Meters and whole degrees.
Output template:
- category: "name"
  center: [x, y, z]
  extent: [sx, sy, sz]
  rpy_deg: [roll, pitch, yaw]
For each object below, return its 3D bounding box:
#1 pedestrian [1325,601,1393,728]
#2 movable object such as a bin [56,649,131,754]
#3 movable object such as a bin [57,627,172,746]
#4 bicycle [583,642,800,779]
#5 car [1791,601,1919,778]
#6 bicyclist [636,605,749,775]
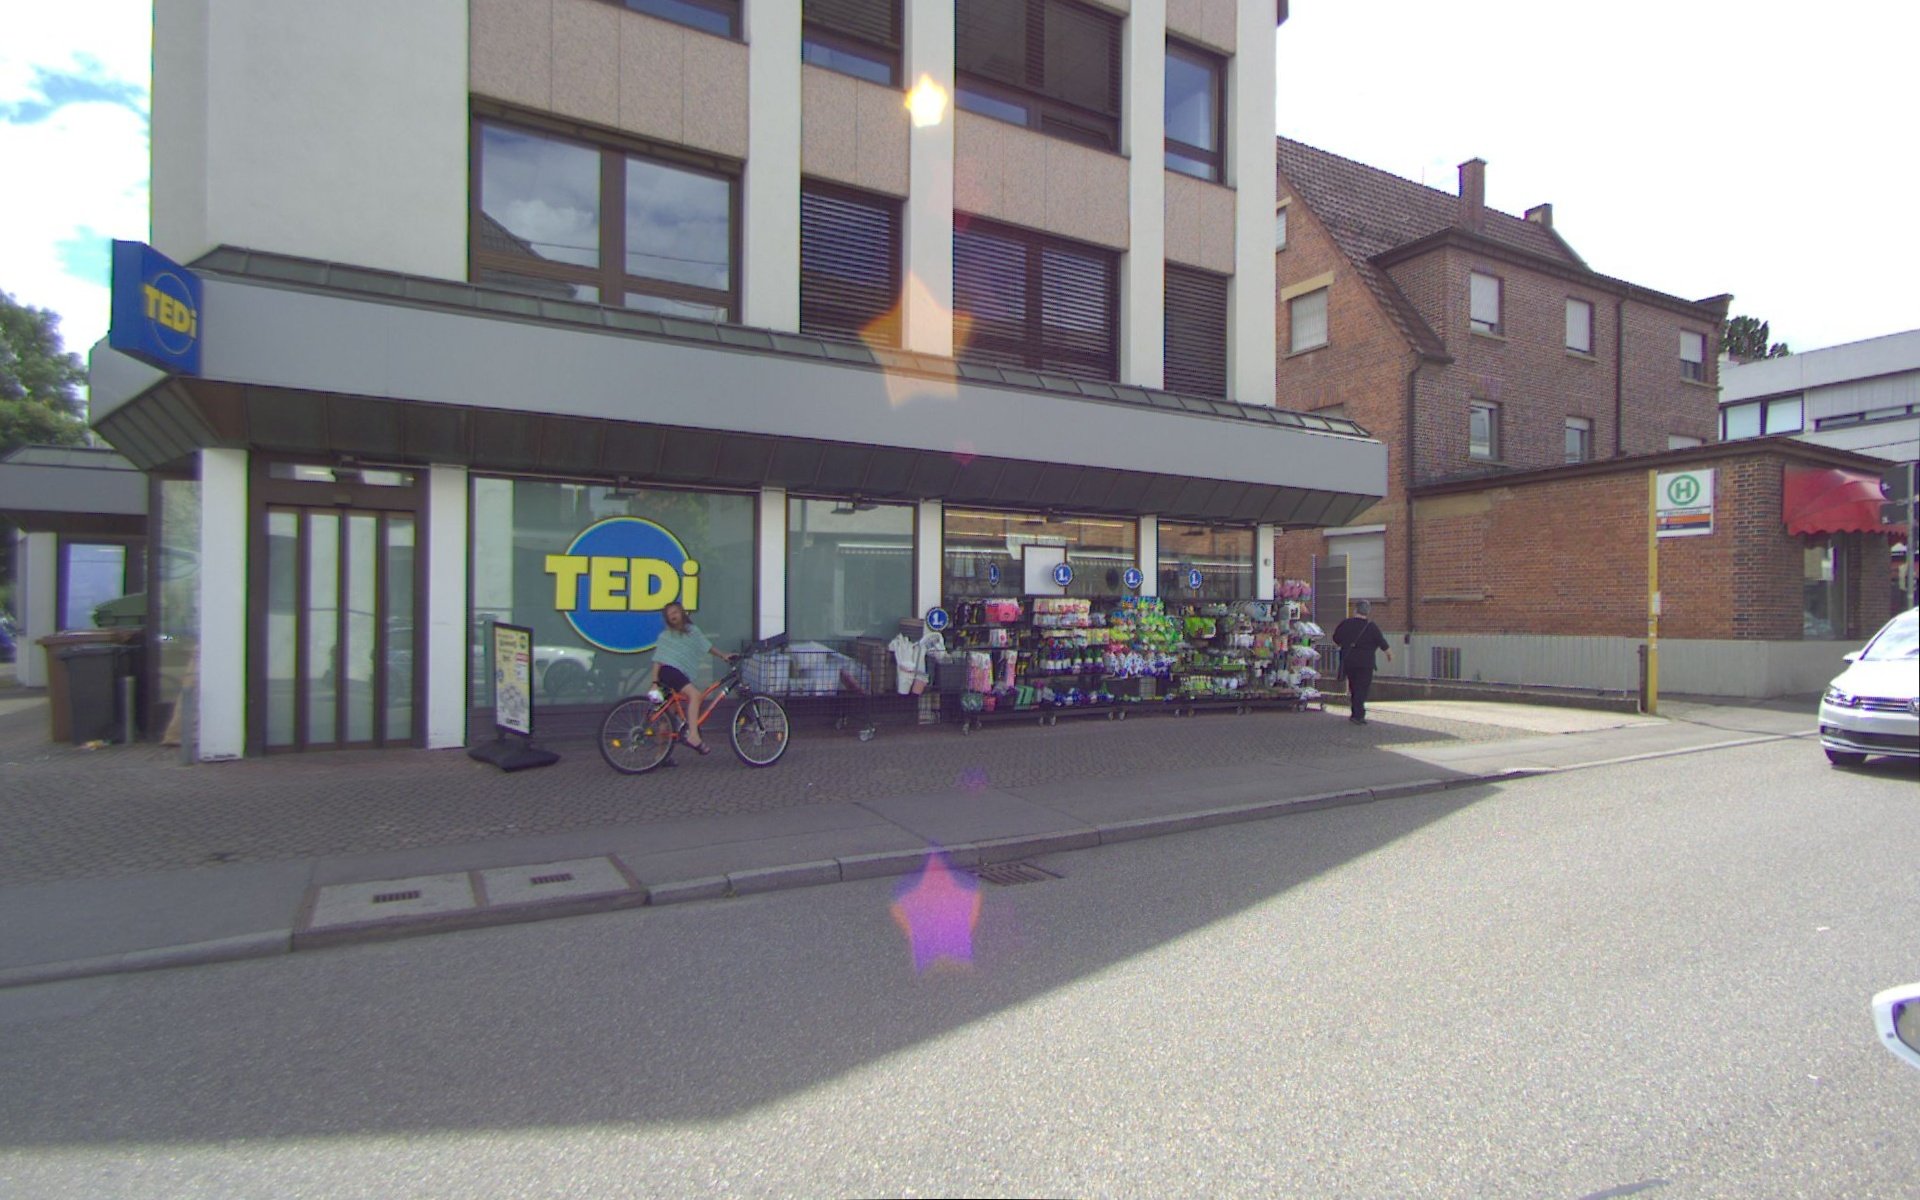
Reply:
- category: "pedestrian"
  center: [5.184, 0.820, 13.077]
  extent: [0.757, 1.579, 0.574]
  rpy_deg: [2, 0, 20]
- category: "movable object such as a bin"
  center: [-8.105, 0.935, 9.408]
  extent: [0.438, 0.923, 0.405]
  rpy_deg: [-1, 1, -30]
- category: "movable object such as a bin"
  center: [-8.382, 0.831, 9.993]
  extent: [0.729, 1.080, 0.680]
  rpy_deg: [-2, 1, -30]
- category: "bicycle"
  center: [-2.281, 0.915, 8.619]
  extent: [1.714, 1.064, 0.441]
  rpy_deg: [2, 2, -30]
- category: "car"
  center: [10.585, 0.813, 10.348]
  extent: [4.070, 1.634, 1.767]
  rpy_deg: [0, -2, -30]
- category: "bicyclist"
  center: [-2.306, 0.745, 8.644]
  extent: [0.753, 1.355, 0.664]
  rpy_deg: [2, 2, -30]
